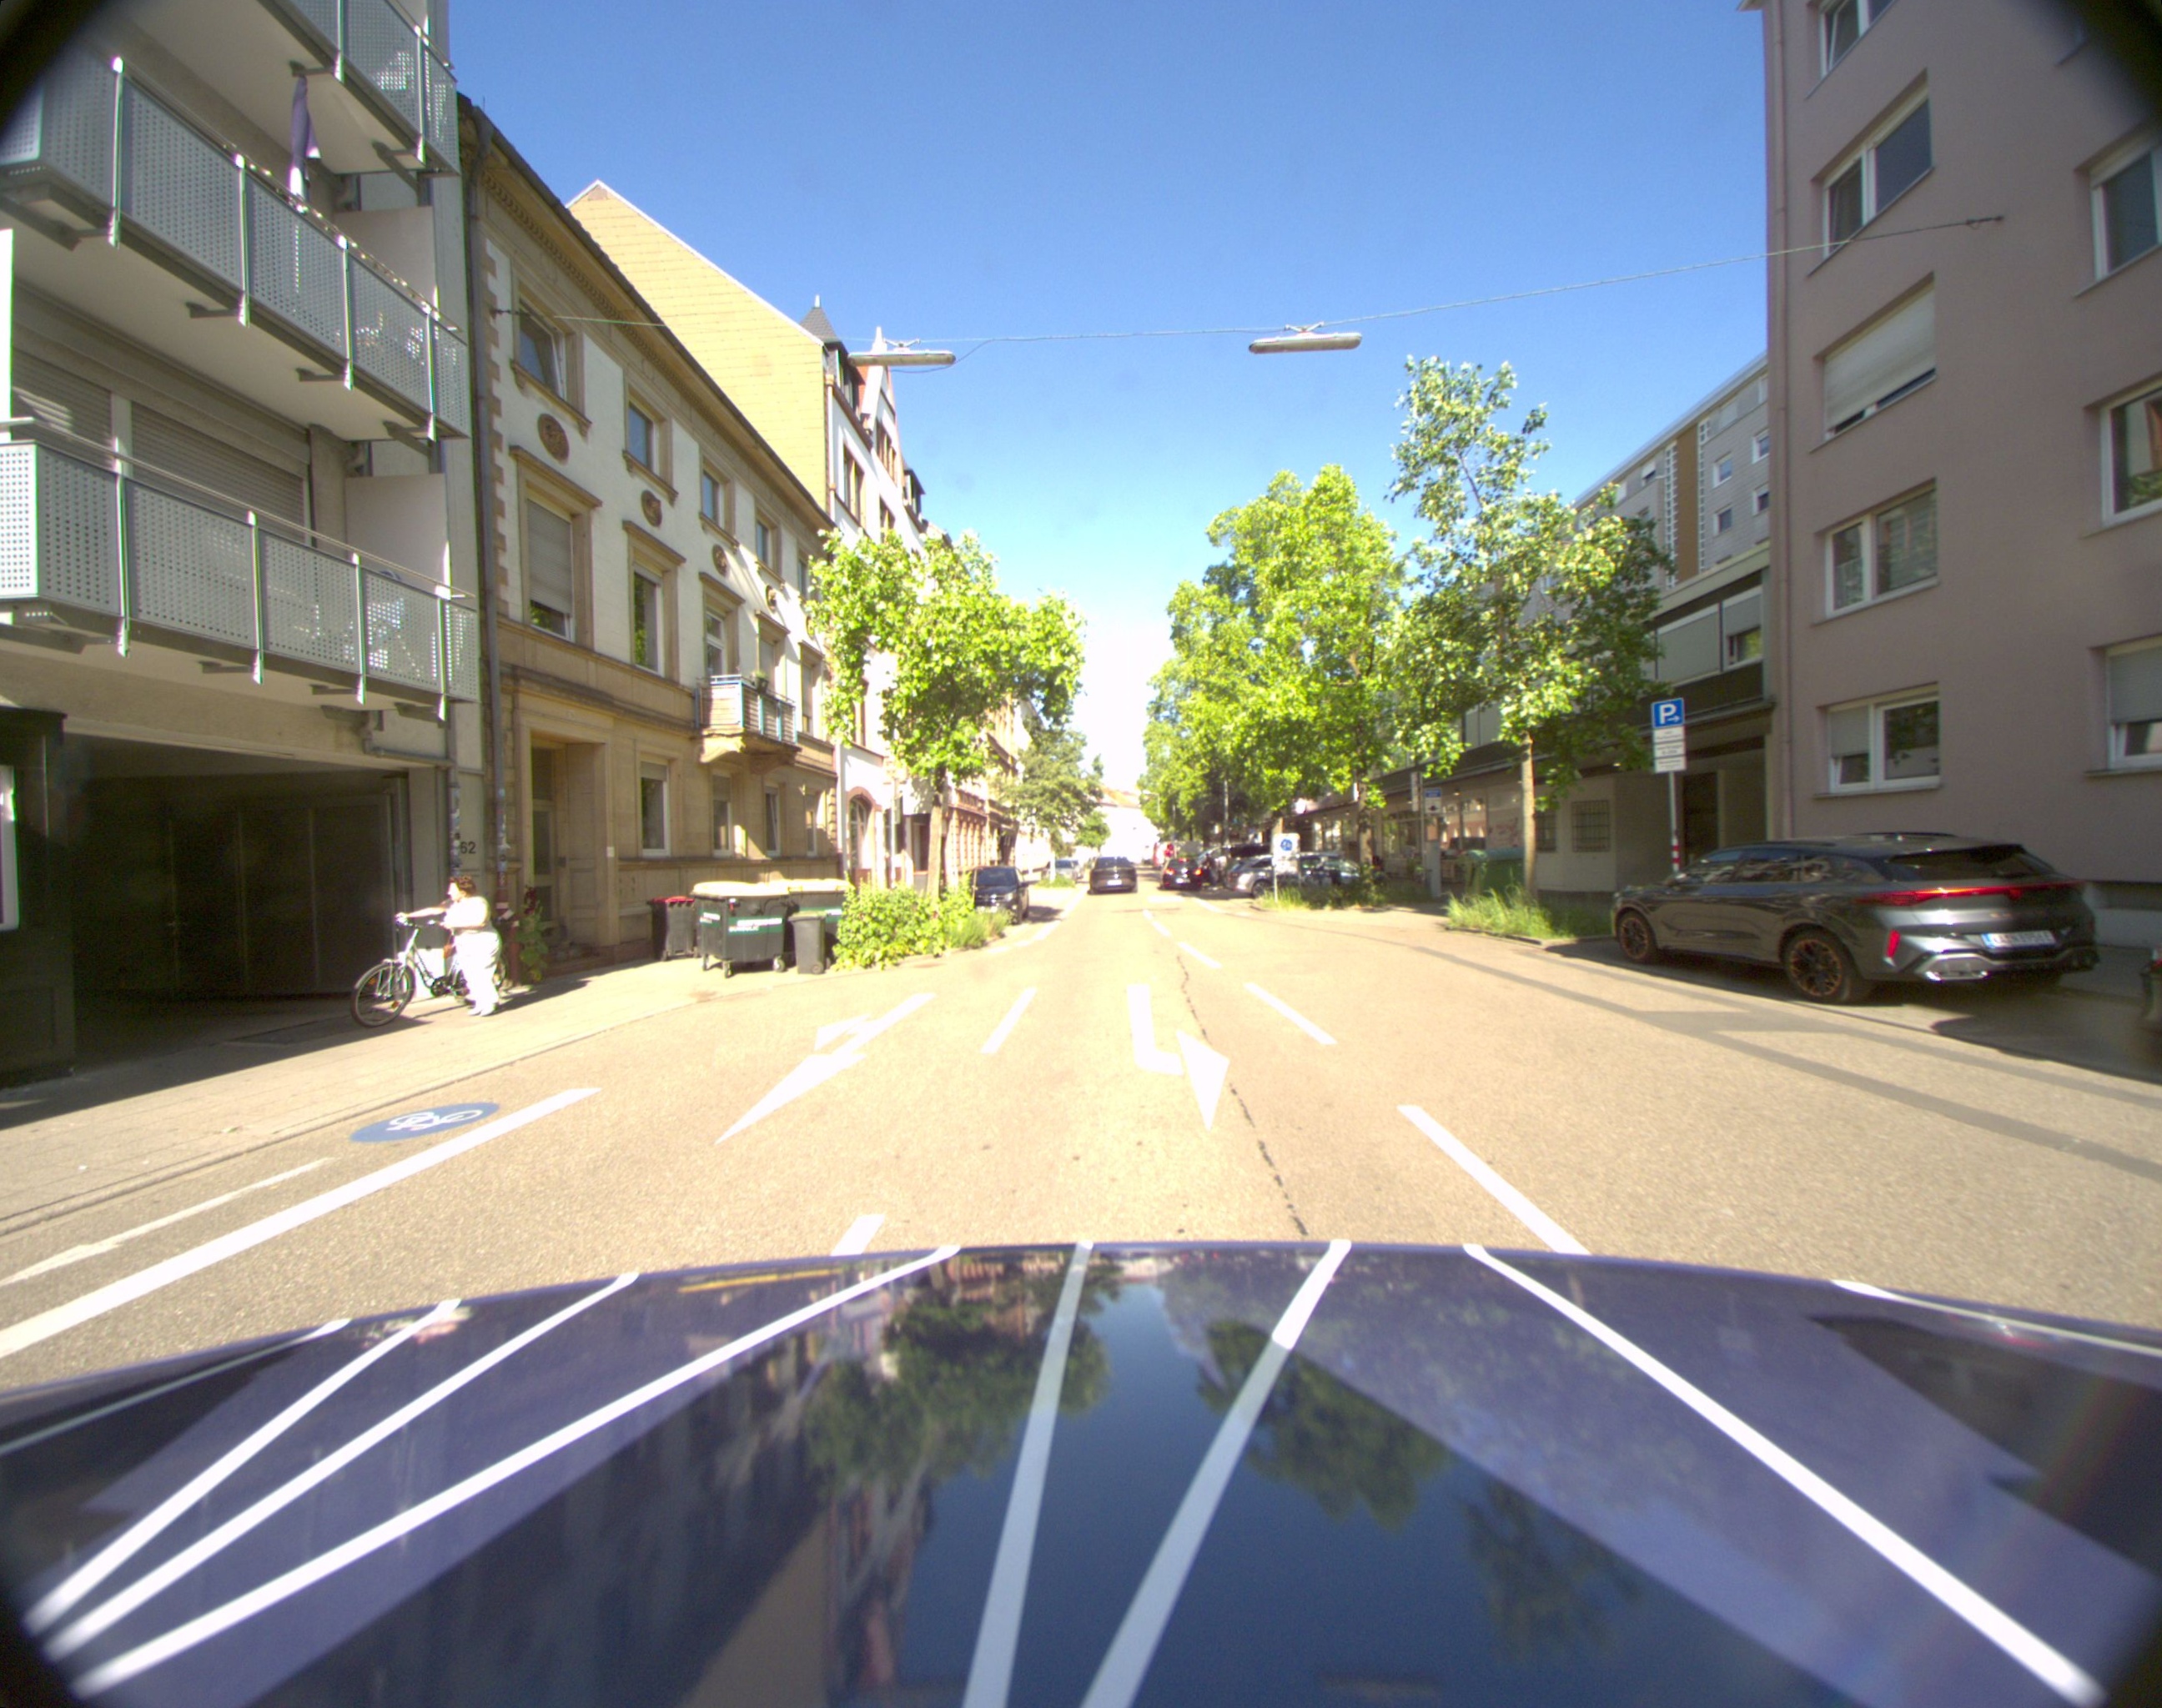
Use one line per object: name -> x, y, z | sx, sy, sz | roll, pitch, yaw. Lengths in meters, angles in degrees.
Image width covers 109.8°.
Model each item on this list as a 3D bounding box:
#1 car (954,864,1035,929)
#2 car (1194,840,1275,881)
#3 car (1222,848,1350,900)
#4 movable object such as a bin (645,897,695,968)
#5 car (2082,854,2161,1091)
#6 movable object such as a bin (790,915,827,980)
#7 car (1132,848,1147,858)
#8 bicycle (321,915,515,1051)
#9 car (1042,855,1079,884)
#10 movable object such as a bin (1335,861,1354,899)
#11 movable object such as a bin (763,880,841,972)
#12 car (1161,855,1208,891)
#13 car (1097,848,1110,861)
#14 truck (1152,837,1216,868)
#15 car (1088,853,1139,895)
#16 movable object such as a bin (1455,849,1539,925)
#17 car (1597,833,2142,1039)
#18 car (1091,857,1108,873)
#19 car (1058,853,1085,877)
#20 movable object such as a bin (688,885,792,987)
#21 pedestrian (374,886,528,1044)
car -> -2.181, 1.043, 19.899 | 1.551, 1.483, 3.352 | -1, 0, 2
car -> 8.218, 0.335, 40.933 | 3.996, 2.020, 2.000 | -1, 0, 3
car -> 7.149, 0.687, 26.851 | 3.996, 1.665, 2.000 | -1, 0, 3
movable object such as a bin -> -6.813, 1.288, 12.597 | 0.615, 1.075, 0.568 | 2, 3, 45
car -> 7.688, 0.733, 3.063 | 1.821, 1.499, 4.246 | -4, 0, 5
movable object such as a bin -> -4.114, 1.403, 11.488 | 0.401, 0.916, 0.484 | 0, 2, -5
car -> 12.243, -0.292, 158.608 | 1.996, 2.002, 4.006 | -1, 0, 20
bicycle -> -6.914, 1.292, 8.054 | 0.402, 1.126, 1.792 | 0, 0, 3
car -> -1.093, 0.822, 42.401 | 1.759, 1.492, 3.950 | -1, 0, 2
movable object such as a bin -> 8.602, 0.835, 24.800 | 0.488, 1.218, 0.410 | -1, 1, 3
movable object such as a bin -> -4.583, 1.143, 12.472 | 0.960, 1.341, 1.066 | -1, 2, -35
car -> 4.567, 0.797, 34.065 | 1.867, 1.455, 4.001 | -1, 0, 5
car -> 3.666, 0.041, 123.256 | 1.998, 2.002, 4.001 | -2, 0, 4
truck -> 9.163, -0.117, 67.968 | 5.321, 2.581, 1.999 | -2, 1, -7
car -> 1.430, 0.808, 32.635 | 1.993, 1.598, 4.262 | -2, 0, 3
movable object such as a bin -> 8.784, 0.679, 16.102 | 1.246, 1.536, 1.019 | -1, 1, 8
car -> 7.943, 0.679, 8.391 | 1.821, 1.583, 4.142 | -5, 0, 5
car -> 1.876, 1.081, 75.991 | 1.653, 1.447, 3.291 | -1, 0, 3
car -> -0.623, 0.720, 51.707 | 1.653, 1.483, 3.290 | -1, 0, 2
movable object such as a bin -> -5.127, 1.178, 11.416 | 1.212, 1.318, 1.052 | 2, 3, 45
pedestrian -> -6.735, 1.141, 8.177 | 0.825, 1.529, 0.947 | 2, 1, 3
